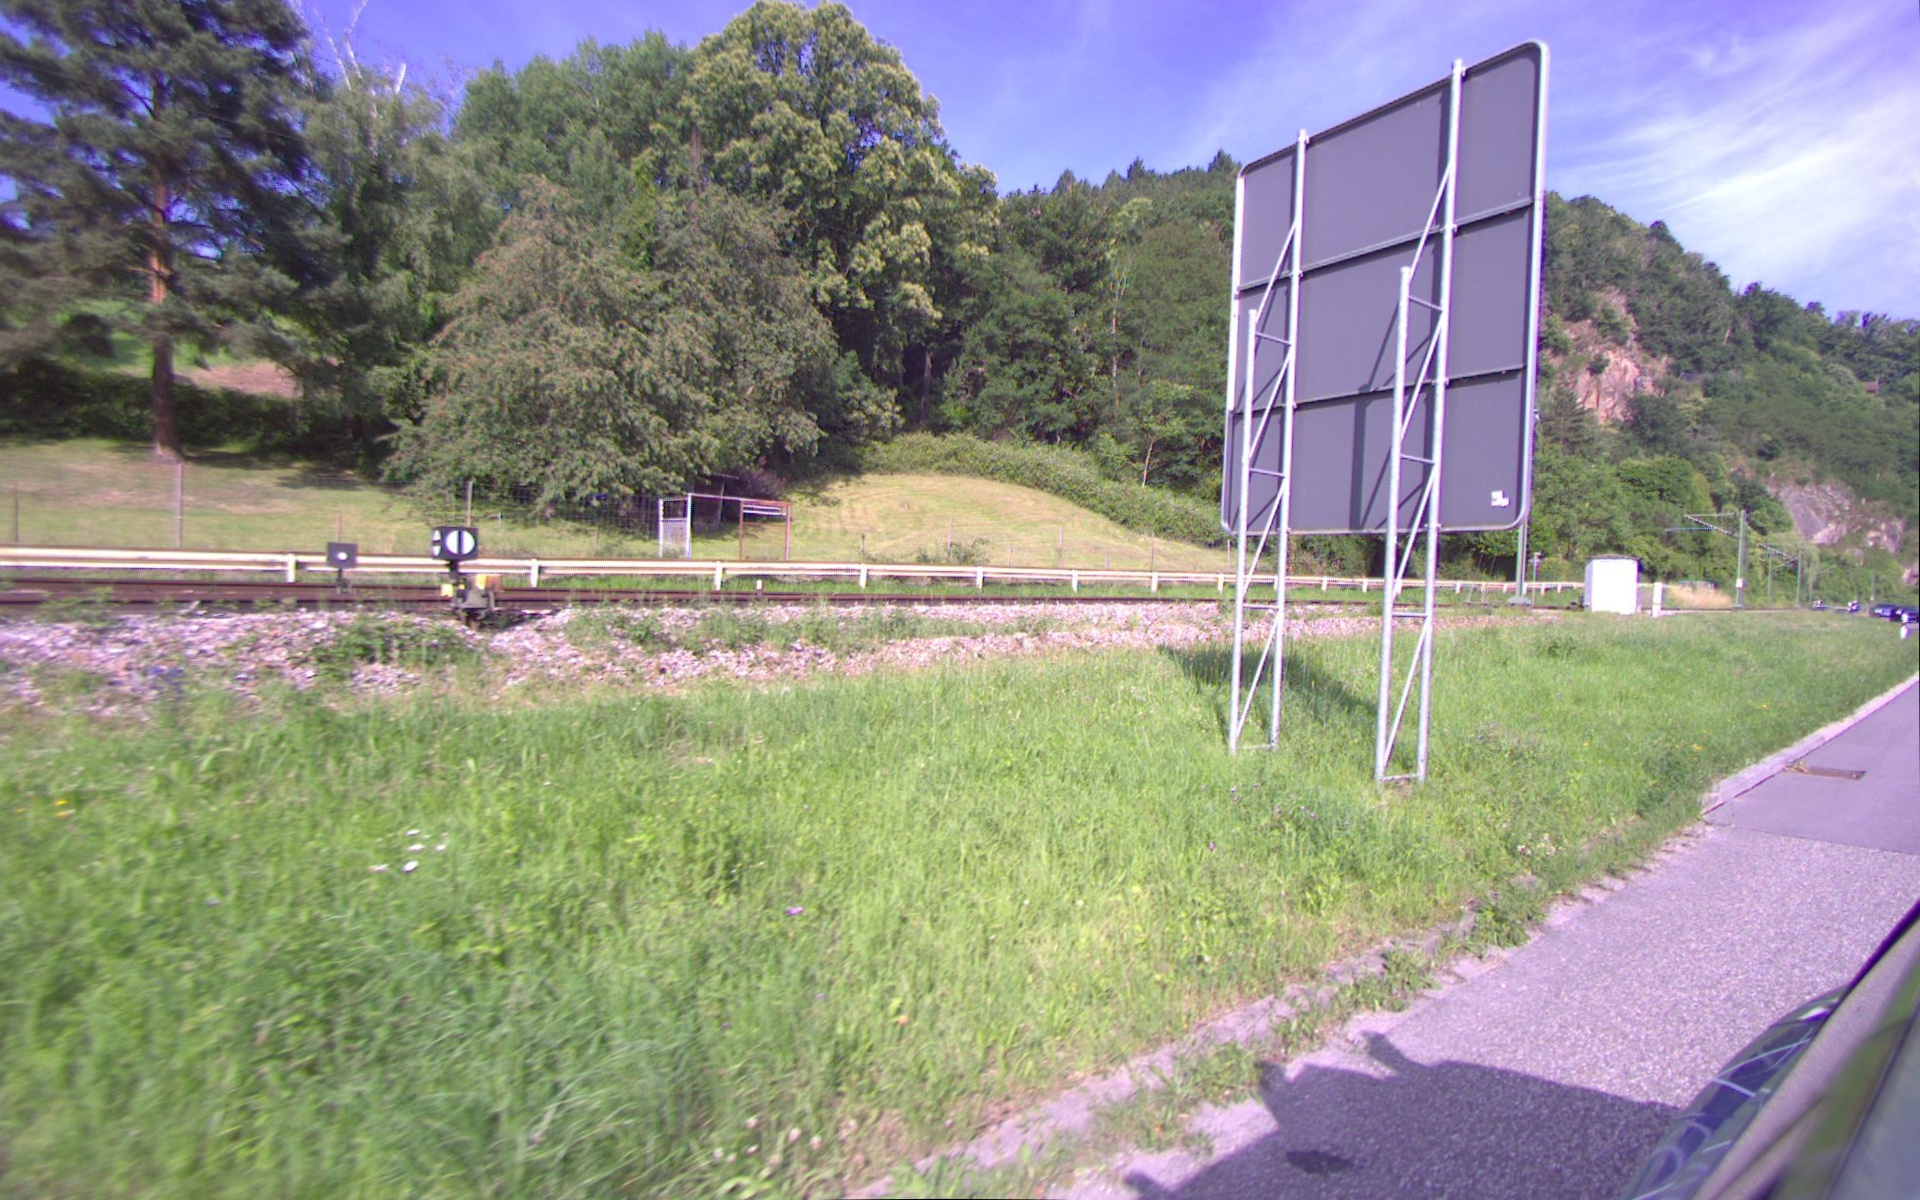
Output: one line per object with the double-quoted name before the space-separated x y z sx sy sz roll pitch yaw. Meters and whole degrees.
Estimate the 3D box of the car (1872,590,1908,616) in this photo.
"car" 81.677 0.246 88.945 1.992 2.038 3.943 5 3 39

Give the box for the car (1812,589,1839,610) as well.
"car" 90.625 -0.098 105.969 1.993 2.038 3.940 5 3 41

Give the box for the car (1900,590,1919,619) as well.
"car" 71.985 0.353 75.816 1.992 2.038 3.942 5 3 40
